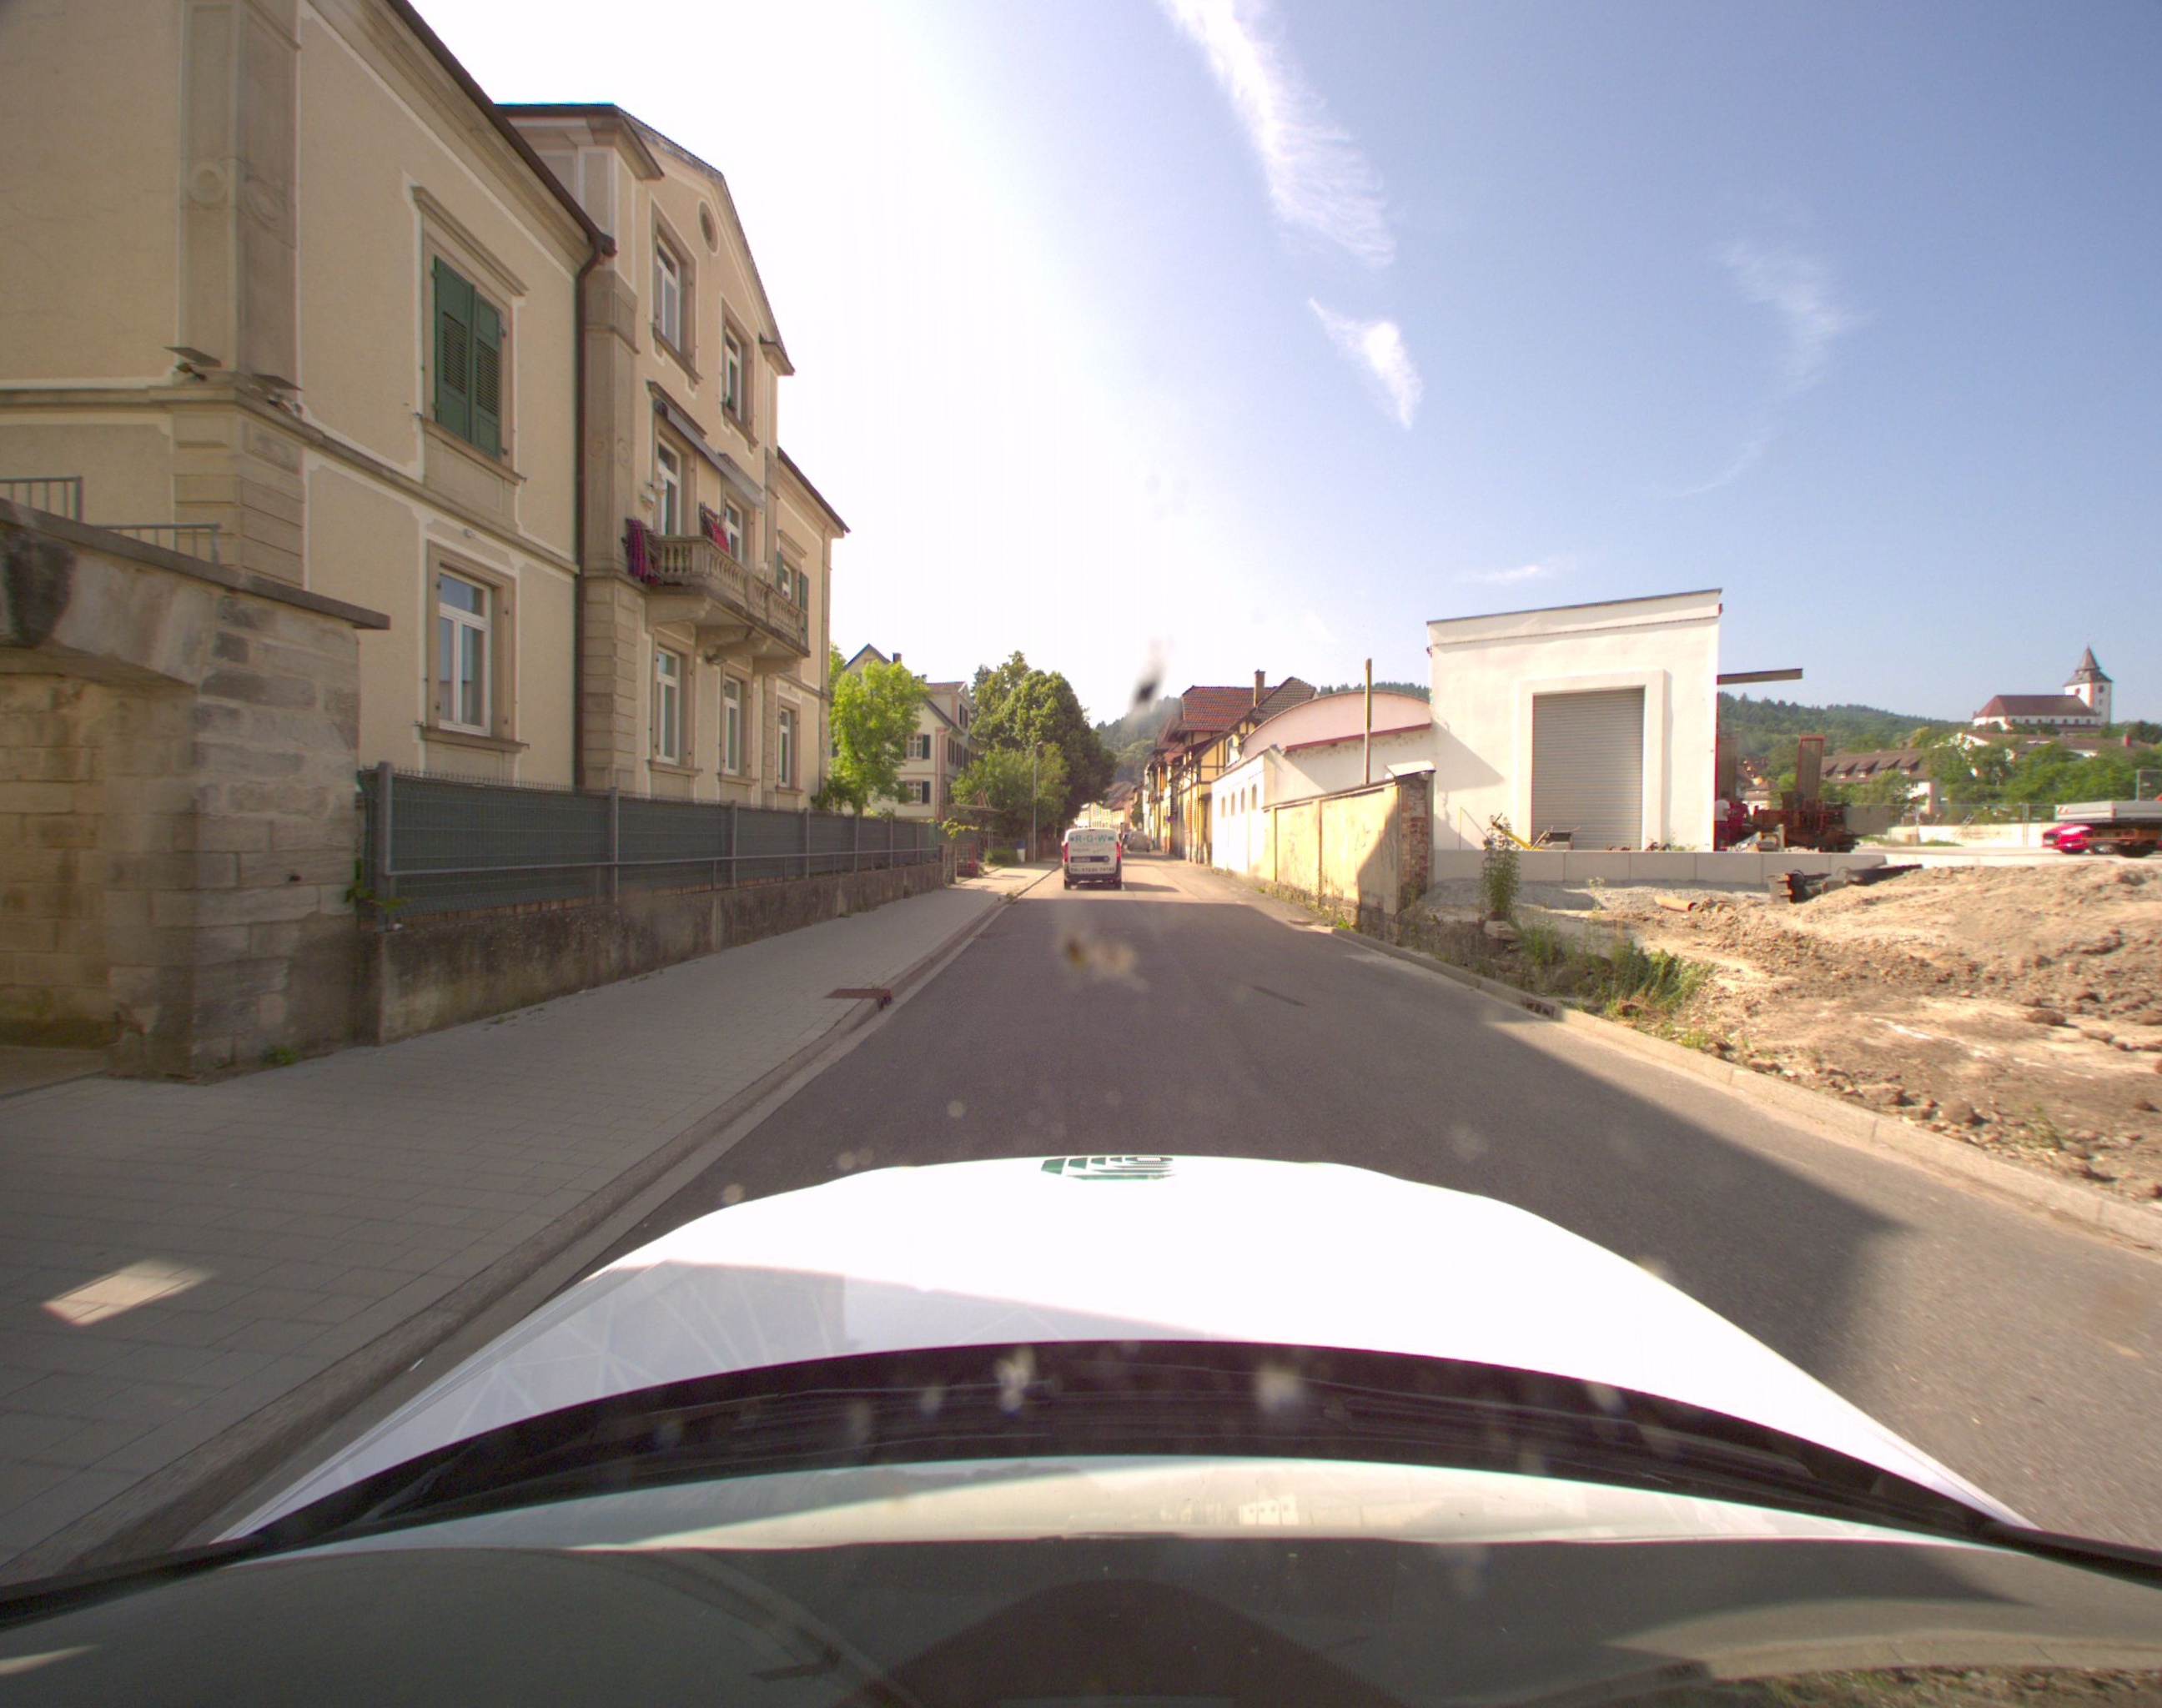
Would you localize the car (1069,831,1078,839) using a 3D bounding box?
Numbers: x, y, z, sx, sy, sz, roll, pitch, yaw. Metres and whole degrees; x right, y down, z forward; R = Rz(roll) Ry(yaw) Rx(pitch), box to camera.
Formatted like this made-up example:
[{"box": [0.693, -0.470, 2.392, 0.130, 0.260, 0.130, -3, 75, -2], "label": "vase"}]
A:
[{"box": [-1.880, -4.718, 202.631, 1.771, 1.798, 3.987, 1, 1, -10], "label": "car"}]

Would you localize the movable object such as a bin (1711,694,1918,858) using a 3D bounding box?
[{"box": [18.618, -1.810, 21.133, 2.823, 3.621, 5.772, 4, 2, 32], "label": "movable object such as a bin"}]

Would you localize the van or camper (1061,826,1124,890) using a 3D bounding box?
[{"box": [0.363, 0.068, 25.969, 1.822, 1.844, 4.189, -1, 1, 0], "label": "van or camper"}]

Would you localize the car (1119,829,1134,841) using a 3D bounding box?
[{"box": [5.816, -2.424, 103.539, 1.664, 1.508, 4.000, 0, 1, 0], "label": "car"}]

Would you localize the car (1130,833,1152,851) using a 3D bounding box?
[{"box": [5.629, -1.167, 76.887, 1.804, 1.596, 3.929, 3, 2, 2], "label": "car"}]

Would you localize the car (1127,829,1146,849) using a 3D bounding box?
[{"box": [5.902, -1.649, 87.104, 1.864, 2.013, 4.001, 1, 1, 1], "label": "car"}]

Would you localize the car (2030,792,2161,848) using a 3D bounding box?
[{"box": [30.255, -0.965, 23.318, 3.717, 1.517, 1.511, 1, 0, 32], "label": "car"}]

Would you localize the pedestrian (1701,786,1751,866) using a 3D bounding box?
[{"box": [15.882, -0.689, 20.073, 0.605, 1.896, 0.635, 3, 2, -6], "label": "pedestrian"}]

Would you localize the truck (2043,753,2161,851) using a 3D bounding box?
[{"box": [26.911, -1.232, 19.019, 5.265, 2.265, 2.232, -1, 0, 27], "label": "truck"}]

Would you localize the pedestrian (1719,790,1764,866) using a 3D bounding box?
[{"box": [16.946, -0.665, 20.899, 0.610, 1.896, 0.630, 2, 2, -32], "label": "pedestrian"}]

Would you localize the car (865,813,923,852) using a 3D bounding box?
[{"box": [-9.626, -1.130, 42.248, 1.817, 1.772, 4.682, 4, 1, 0], "label": "car"}]
